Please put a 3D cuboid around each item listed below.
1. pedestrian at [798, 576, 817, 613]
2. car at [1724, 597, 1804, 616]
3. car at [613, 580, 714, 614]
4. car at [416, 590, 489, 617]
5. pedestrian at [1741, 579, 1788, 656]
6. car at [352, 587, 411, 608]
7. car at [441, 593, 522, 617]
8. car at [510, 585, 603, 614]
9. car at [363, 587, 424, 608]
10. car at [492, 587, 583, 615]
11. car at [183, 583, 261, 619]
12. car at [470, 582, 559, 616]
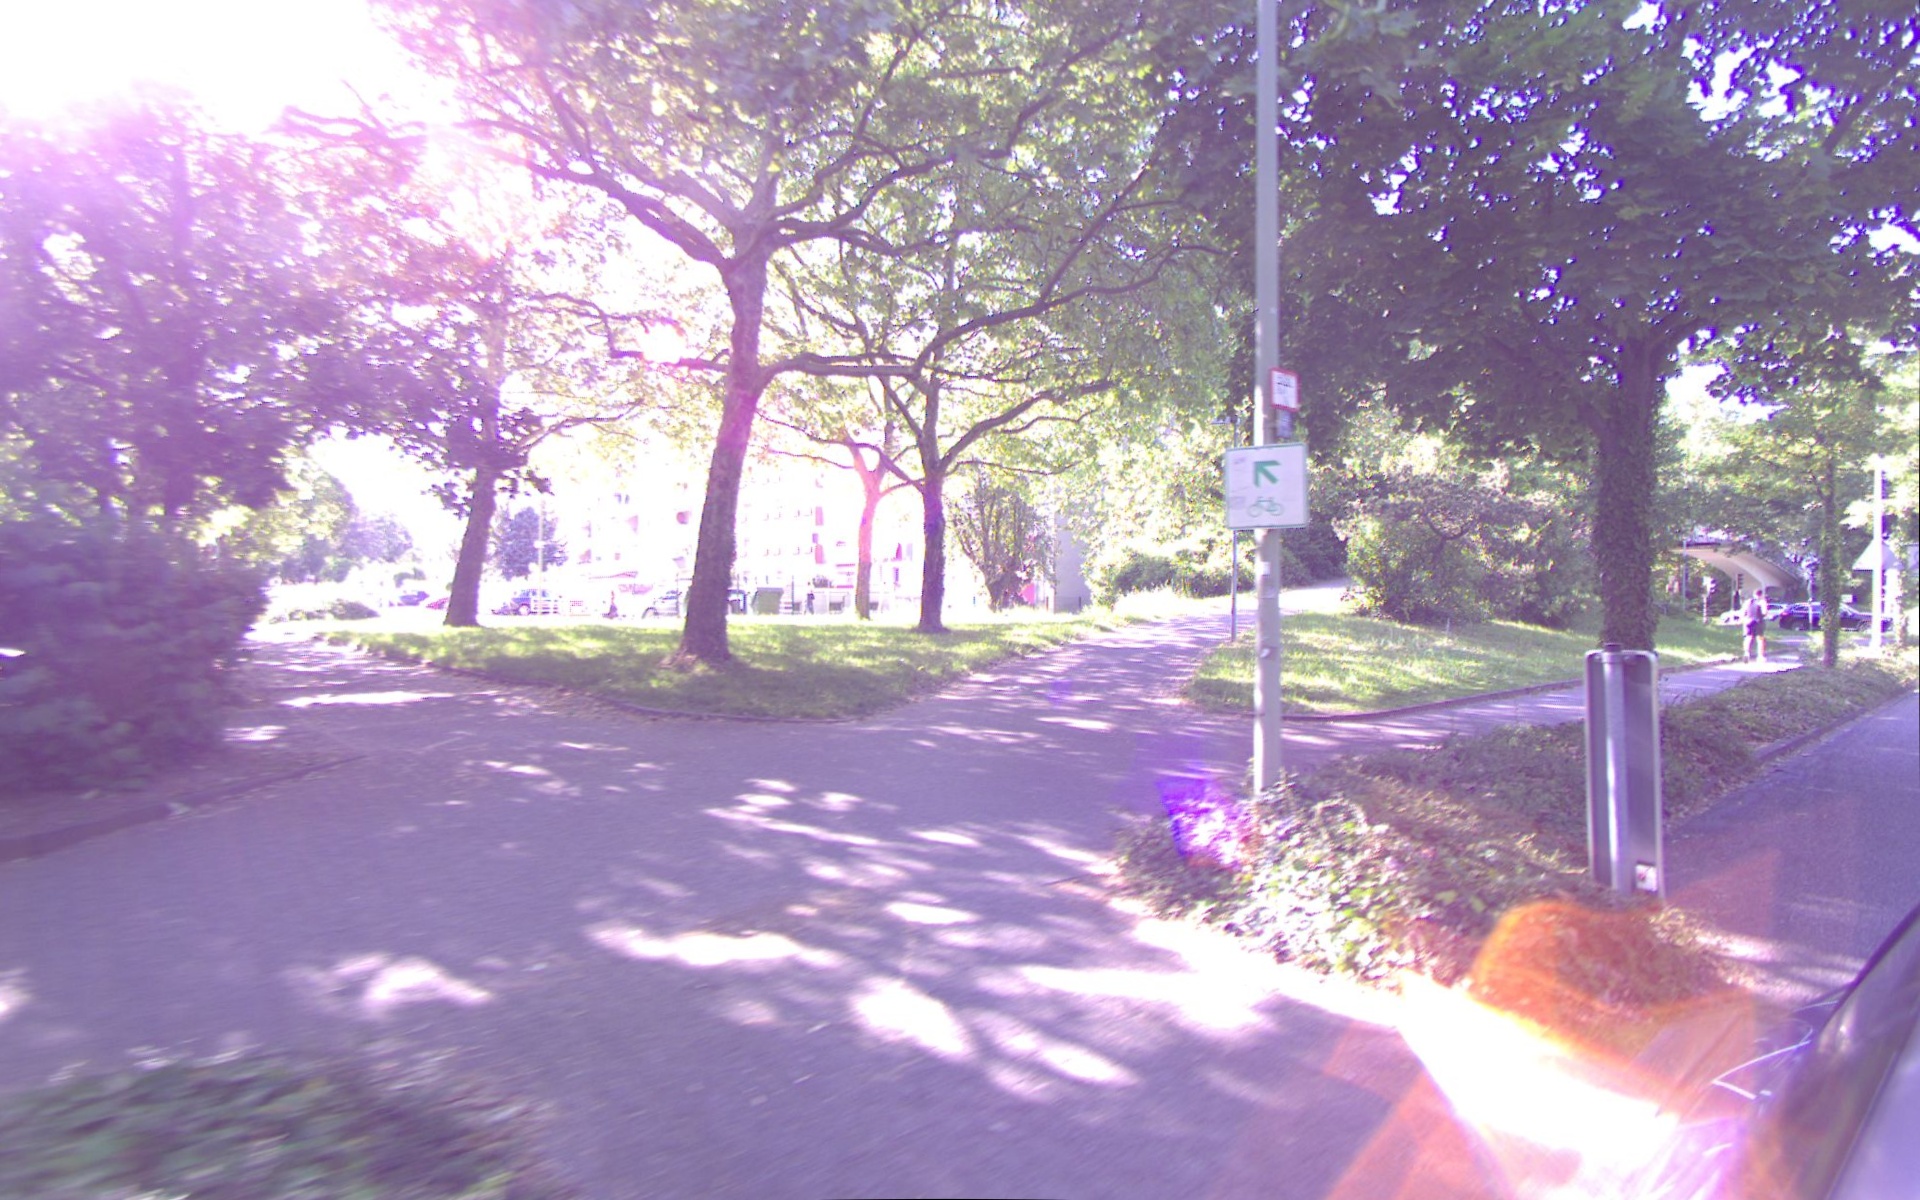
[{"bbox_3d":[-6.777,-0.227,44.989,0.618,1.609,0.676,-2,-2,18],"label":"pedestrian"},{"bbox_3d":[56.227,0.453,70.839,1.589,1.235,4.064,0,-1,-36],"label":"car"},{"bbox_3d":[-12.302,-0.117,42.110,3.793,1.310,1.539,0,-2,-44],"label":"car"},{"bbox_3d":[-32.745,0.214,65.344,3.928,1.644,1.997,0,-1,-39],"label":"car"},{"bbox_3d":[19.751,0.413,24.846,0.659,1.855,0.792,1,-1,-41],"label":"pedestrian"},{"bbox_3d":[-47.255,-0.173,82.749,3.928,1.644,1.997,0,-1,-39],"label":"car"},{"bbox_3d":[-28.460,0.289,60.256,4.086,1.384,1.744,0,-2,-44],"label":"car"},{"bbox_3d":[-20.460,-0.024,51.410,4.086,1.384,1.744,0,-2,-44],"label":"car"},{"bbox_3d":[-44.705,-0.203,79.871,3.928,1.548,1.997,0,-1,-39],"label":"car"},{"bbox_3d":[-22.169,0.041,53.193,4.086,1.384,1.744,0,-2,-44],"label":"car"},{"bbox_3d":[-49.064,0.059,67.330,3.935,2.321,1.994,0,-2,-45],"label":"car"},{"bbox_3d":[-24.206,-0.048,55.050,4.086,1.708,1.744,0,-2,-44],"label":"car"}]
